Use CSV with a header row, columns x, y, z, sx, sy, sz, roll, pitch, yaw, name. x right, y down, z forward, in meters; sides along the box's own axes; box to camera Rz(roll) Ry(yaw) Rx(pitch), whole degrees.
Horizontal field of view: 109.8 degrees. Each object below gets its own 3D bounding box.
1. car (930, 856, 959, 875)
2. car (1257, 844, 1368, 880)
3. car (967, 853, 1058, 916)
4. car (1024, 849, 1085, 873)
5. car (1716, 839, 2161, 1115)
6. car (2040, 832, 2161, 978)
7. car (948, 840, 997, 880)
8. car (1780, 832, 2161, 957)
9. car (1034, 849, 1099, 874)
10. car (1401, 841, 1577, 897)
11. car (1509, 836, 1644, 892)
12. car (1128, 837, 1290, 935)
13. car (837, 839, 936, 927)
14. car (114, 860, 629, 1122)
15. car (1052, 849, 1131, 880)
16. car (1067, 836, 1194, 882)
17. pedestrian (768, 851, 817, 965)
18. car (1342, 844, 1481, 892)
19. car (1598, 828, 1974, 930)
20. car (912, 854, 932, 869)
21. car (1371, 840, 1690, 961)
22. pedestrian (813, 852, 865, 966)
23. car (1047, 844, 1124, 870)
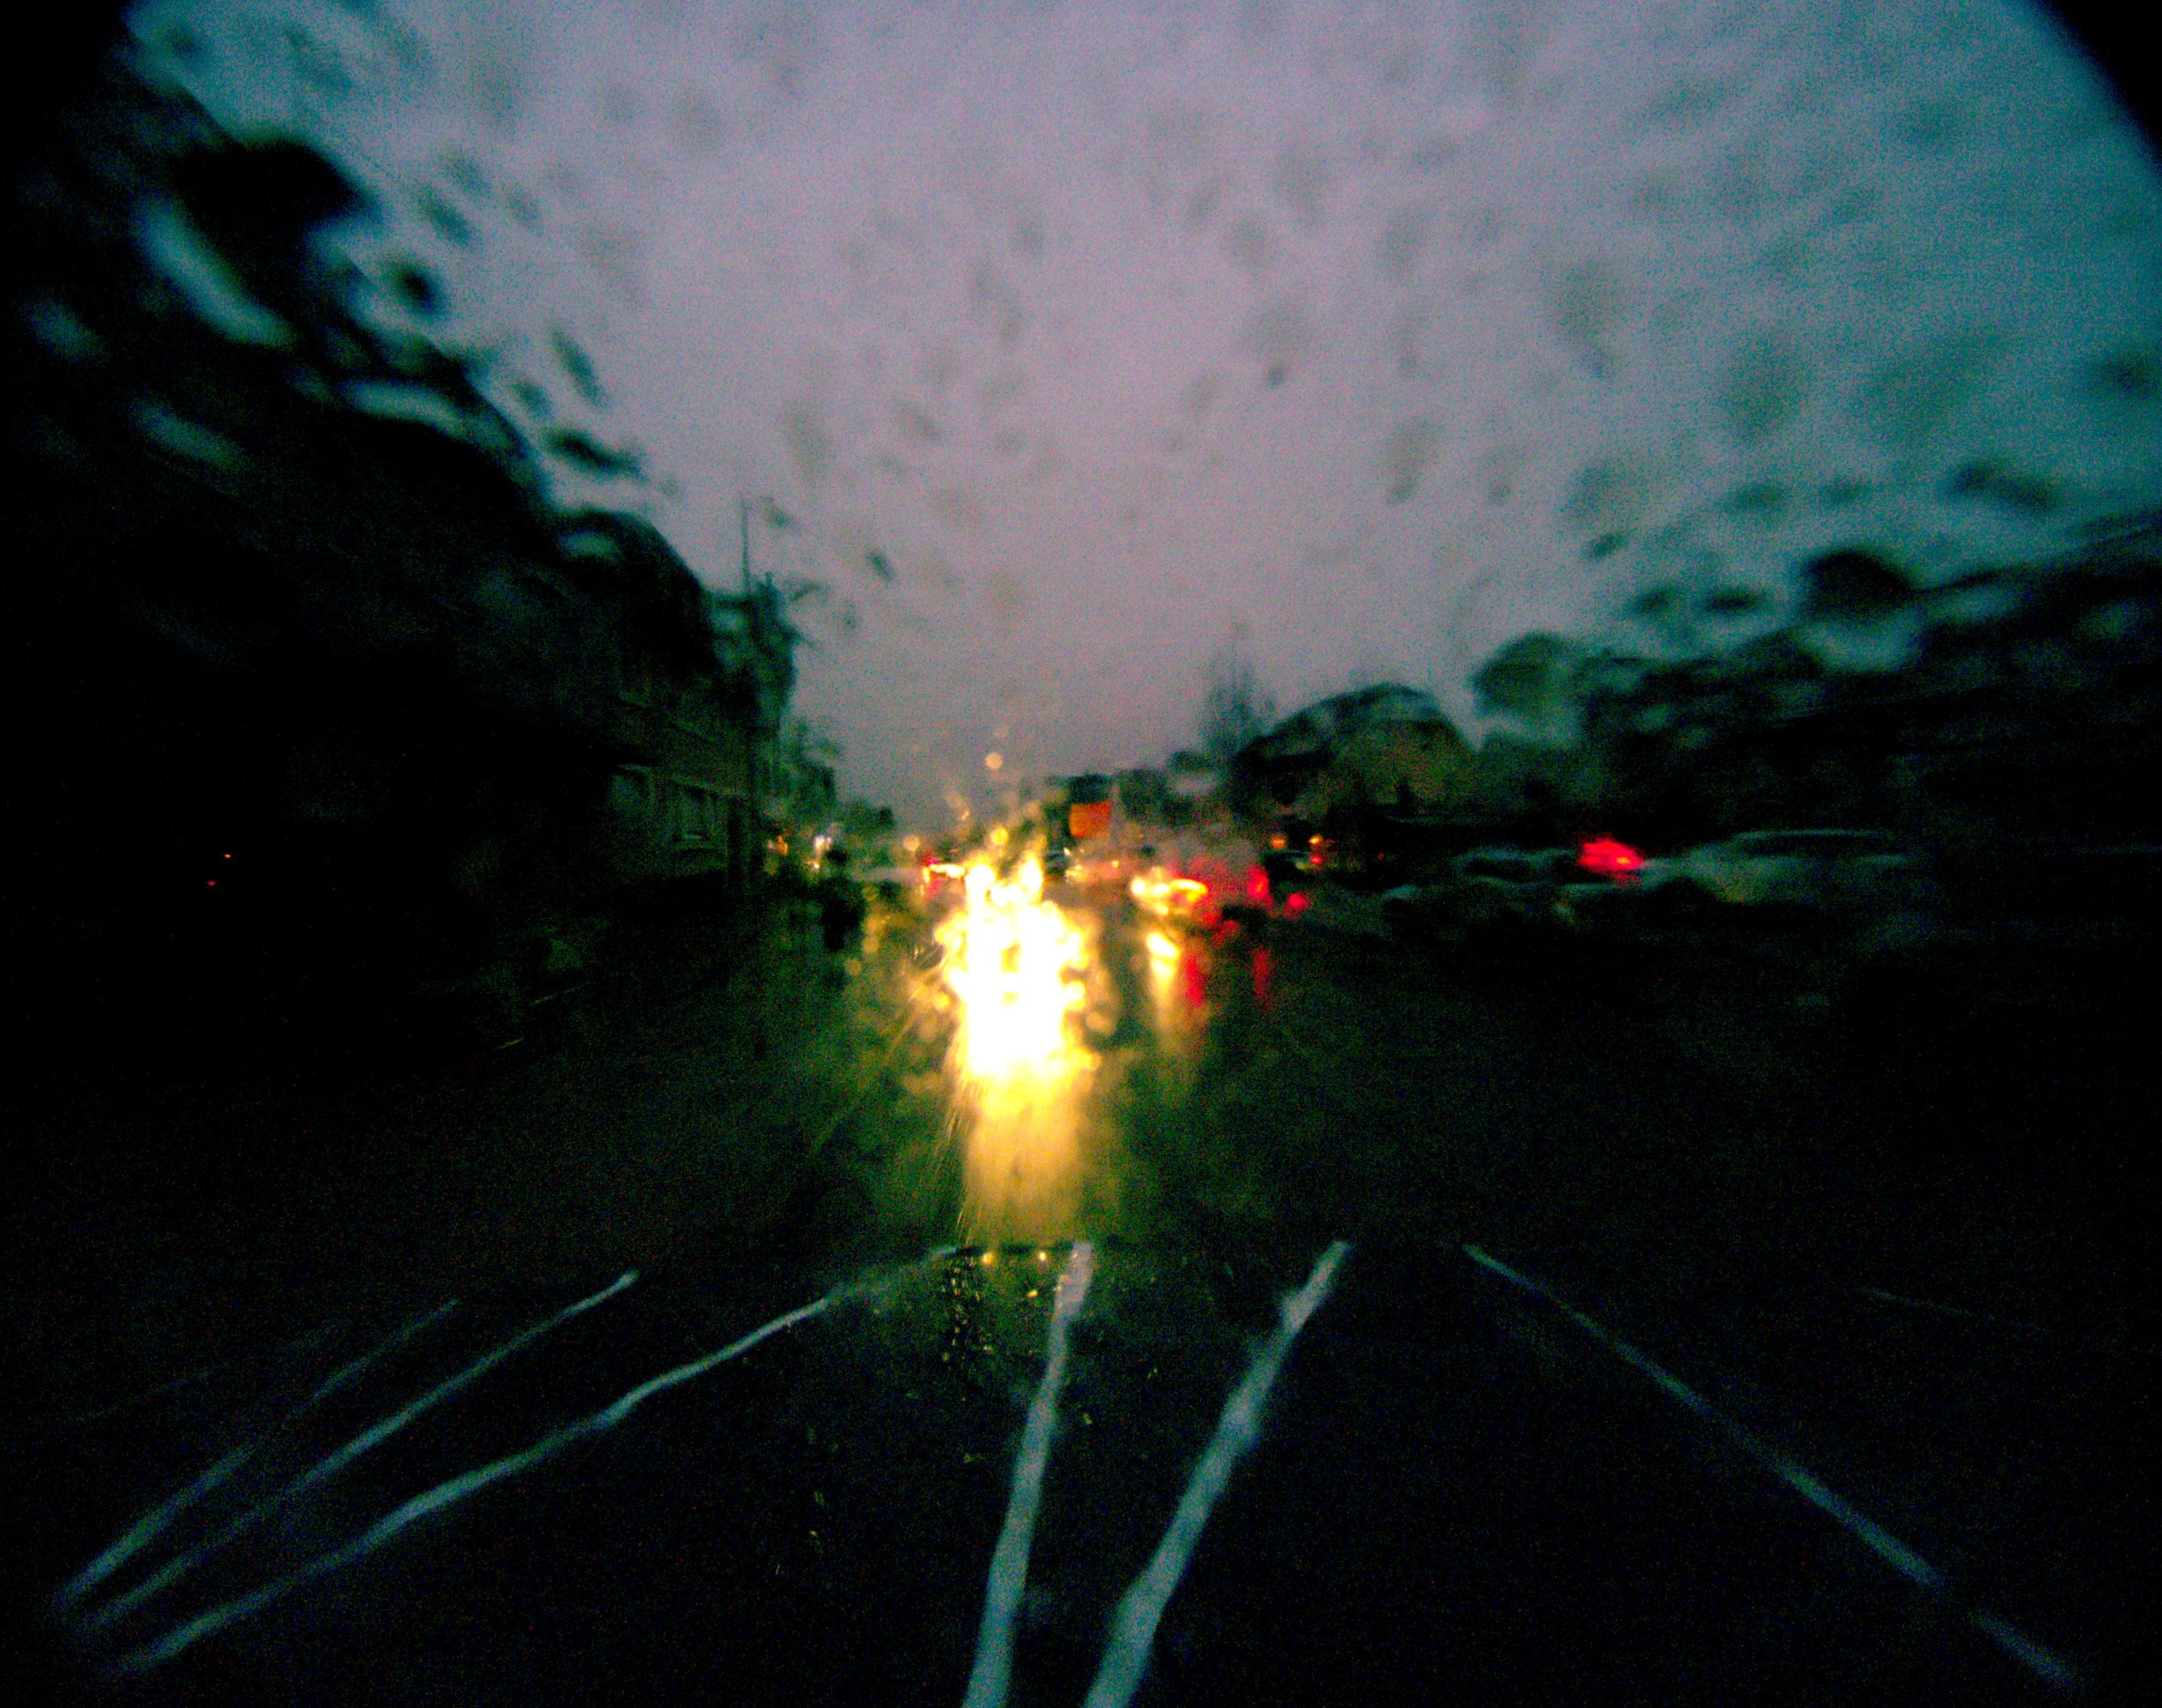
x,y,z,sx,sy,sz,roll,pitch,yaw,name
-11.366,0.929,63.085,1.833,1.509,4.541,0,0,-18,car
11.223,0.400,36.974,4.769,1.626,1.999,1,-1,-7,car
-2.198,0.801,22.940,2.272,1.633,5.061,-1,1,-10,car
-2.100,0.564,59.148,4.431,1.790,1.842,0,0,-17,car
6.900,0.676,5.213,1.839,1.527,3.673,-1,1,-5,car
13.454,0.493,7.811,3.990,1.521,2.003,-1,0,27,car
-7.219,0.356,50.020,2.203,2.476,6.133,-1,0,-18,car
12.913,0.486,10.736,4.103,1.573,1.723,1,1,22,car
-1.082,0.542,56.784,4.520,1.855,1.865,0,0,-17,car
11.223,0.394,21.219,4.065,1.451,1.760,0,1,17,car
16.927,0.306,26.201,1.720,1.718,3.997,-2,1,-7,car
2.466,0.566,16.095,1.952,1.740,4.846,1,0,-8,car
-4.822,0.650,19.516,1.979,1.948,4.848,-1,0,-9,car
-5.468,0.849,6.584,1.740,1.552,3.658,0,0,-15,car
0.580,0.550,42.961,4.003,1.674,1.997,0,0,-17,car
2.271,0.235,36.037,5.776,1.934,1.990,-2,0,-3,car
-4.377,0.790,11.563,0.581,1.659,0.790,0,1,-12,pedestrian
10.431,0.429,24.300,3.925,1.450,1.765,0,0,18,car
12.517,0.387,13.972,4.645,1.644,1.991,0,1,22,car
-16.231,0.791,77.544,1.626,1.471,3.833,0,-1,-18,car
6.699,0.597,11.968,1.911,1.524,4.251,-1,0,-13,car
-3.717,0.821,11.726,0.715,1.689,0.803,0,1,-14,pedestrian
0.295,0.208,51.392,4.884,1.674,1.998,0,-1,-15,car
